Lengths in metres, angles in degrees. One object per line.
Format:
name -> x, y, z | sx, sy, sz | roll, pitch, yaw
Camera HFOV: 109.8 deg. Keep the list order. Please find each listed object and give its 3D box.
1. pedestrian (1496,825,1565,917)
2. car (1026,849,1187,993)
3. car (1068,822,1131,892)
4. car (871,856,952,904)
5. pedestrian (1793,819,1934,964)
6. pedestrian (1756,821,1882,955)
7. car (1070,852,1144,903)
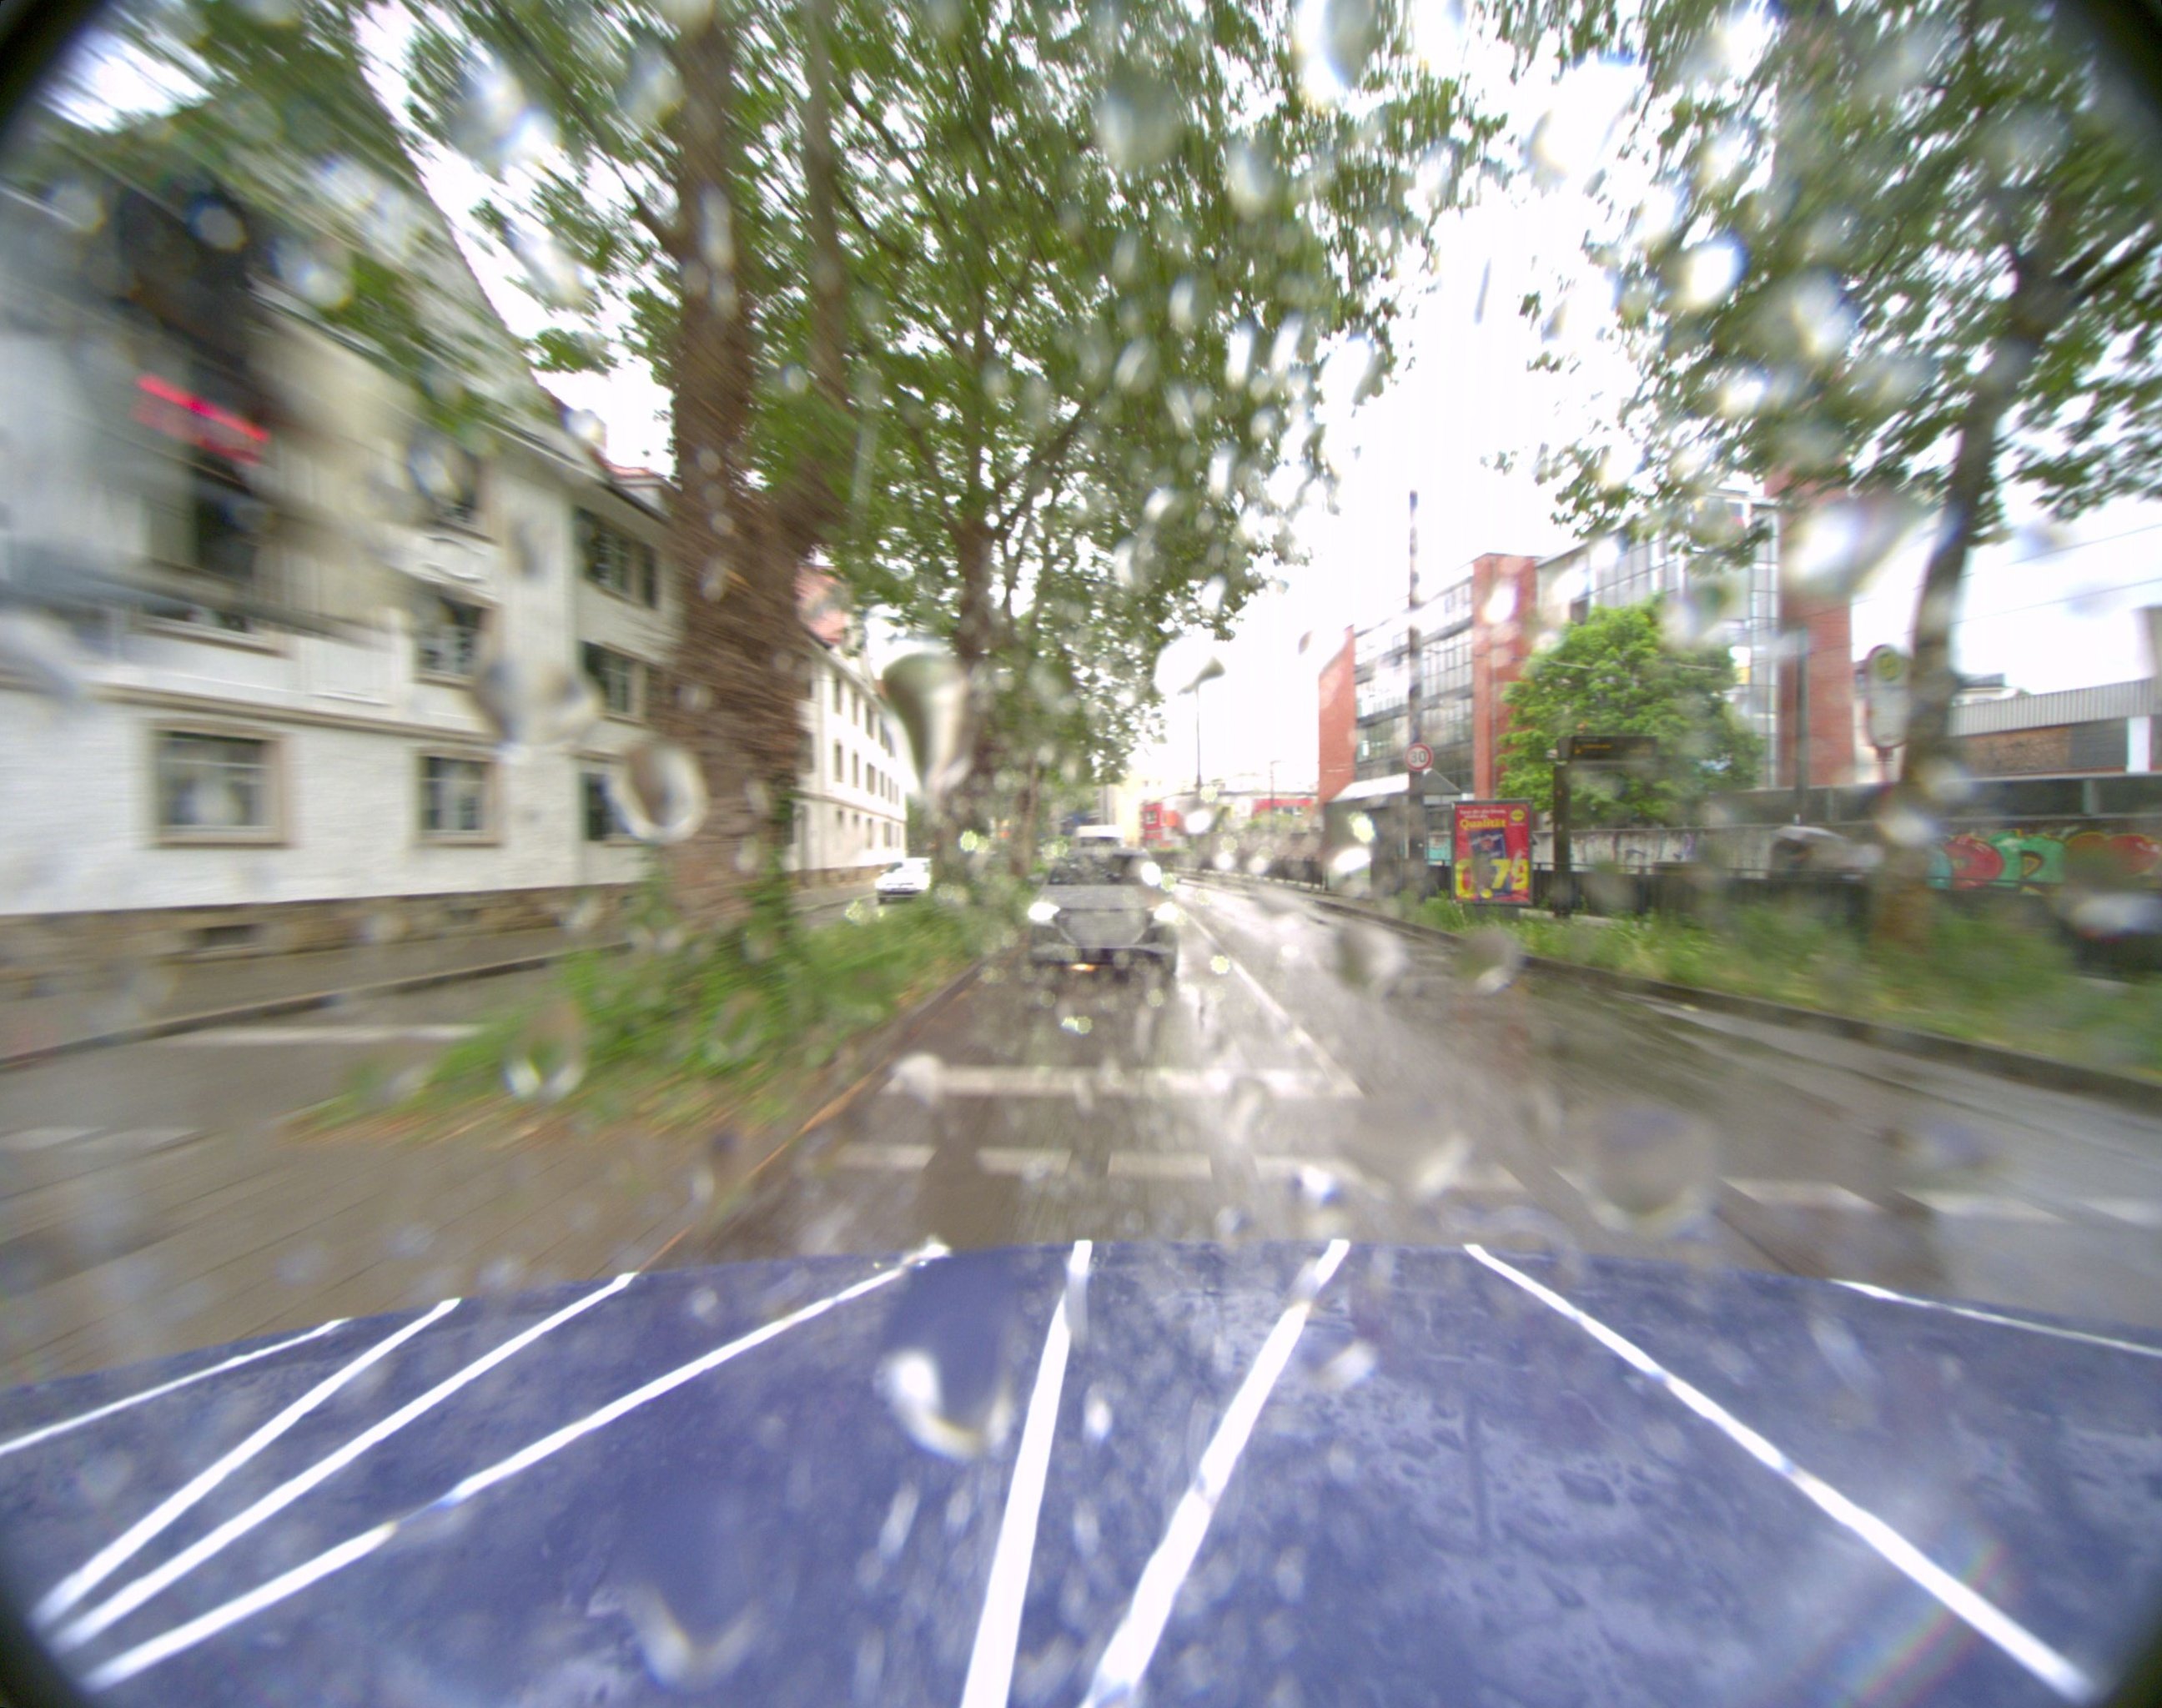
pedestrian -> 9.233, 0.348, 15.633 | 0.860, 1.821, 0.848 | -1, 0, -9
car -> 0.264, 0.766, 10.728 | 1.809, 1.611, 4.137 | -1, 0, -1
car -> 0.770, 0.042, 31.172 | 2.282, 2.548, 6.510 | -1, 1, 2
car -> -5.915, 0.853, 27.094 | 1.781, 1.425, 4.399 | -3, 0, 1
pedestrian -> 9.550, 0.439, 9.303 | 0.860, 1.678, 0.848 | -1, 0, -9
pedestrian -> 9.732, 0.425, 10.047 | 0.860, 1.678, 0.848 | -1, 0, -9
car -> 0.725, 0.677, 23.868 | 1.854, 1.435, 3.998 | -1, 0, -4
